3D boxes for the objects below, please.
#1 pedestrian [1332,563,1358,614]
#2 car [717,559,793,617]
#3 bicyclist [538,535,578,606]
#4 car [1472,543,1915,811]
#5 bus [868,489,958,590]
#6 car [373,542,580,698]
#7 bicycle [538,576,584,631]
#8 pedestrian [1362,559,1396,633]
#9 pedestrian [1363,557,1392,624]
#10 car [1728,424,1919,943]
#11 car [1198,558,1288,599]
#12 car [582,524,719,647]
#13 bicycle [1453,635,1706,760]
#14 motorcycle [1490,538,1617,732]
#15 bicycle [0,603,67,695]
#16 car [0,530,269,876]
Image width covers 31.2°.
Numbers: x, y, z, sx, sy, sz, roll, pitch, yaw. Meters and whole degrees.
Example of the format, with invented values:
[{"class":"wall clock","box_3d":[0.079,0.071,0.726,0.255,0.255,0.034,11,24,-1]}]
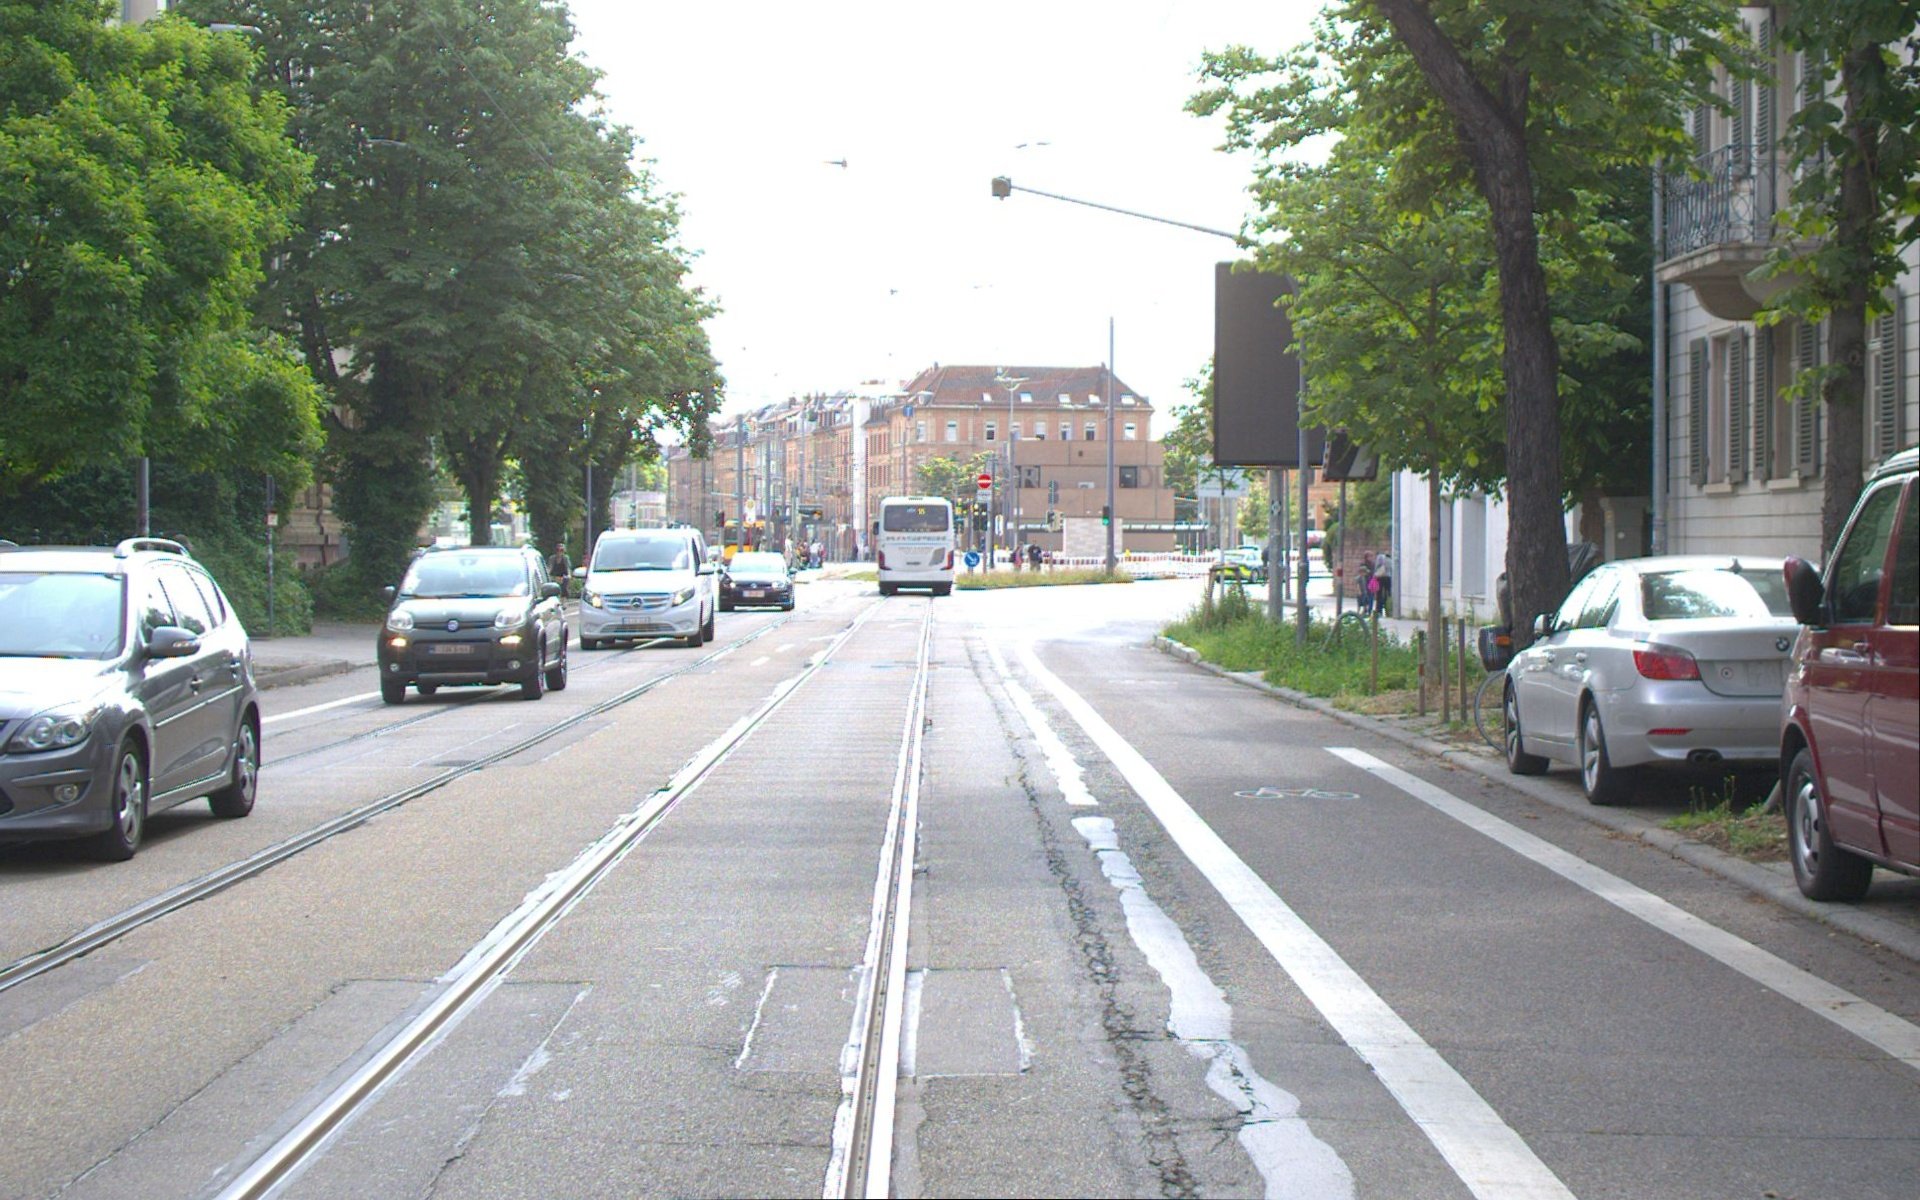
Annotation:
[{"class":"pedestrian","box_3d":[9.220,-0.276,82.351,0.421,1.196,0.406,-3,2,-33]},{"class":"car","box_3d":[-5.043,-0.309,85.065,1.688,1.397,3.931,-1,1,-1]},{"class":"bicyclist","box_3d":[-8.744,-0.649,74.848,0.599,1.487,0.882,-5,1,3]},{"class":"car","box_3d":[4.454,0.399,21.585,1.707,1.493,4.789,0,1,-1]},{"class":"bus","box_3d":[-1.678,-2.040,120.623,2.917,3.317,12.207,1,0,-1]},{"class":"car","box_3d":[-5.004,0.174,36.011,1.631,1.551,3.822,0,1,0]},{"class":"bicycle","box_3d":[-8.677,0.066,74.886,0.602,1.093,2.022,-5,1,2]},{"class":"pedestrian","box_3d":[9.934,-0.103,81.513,0.684,1.718,0.747,-1,2,2]},{"class":"pedestrian","box_3d":[10.092,-0.232,83.125,0.519,1.575,0.549,-2,2,-10]},{"class":"car","box_3d":[4.523,0.305,13.409,1.895,1.934,4.951,0,1,-1]},{"class":"car","box_3d":[12.403,-0.954,150.493,2.134,1.678,4.094,3,2,35]},{"class":"car","box_3d":[-4.982,-0.252,55.866,1.897,1.901,5.385,0,1,-2]},{"class":"bicycle","box_3d":[4.591,0.718,25.557,1.776,0.899,0.692,0,1,3]},{"class":"motorcycle","box_3d":[4.955,0.265,28.579,0.981,1.536,2.439,0,1,11]},{"class":"bicycle","box_3d":[-10.748,0.511,37.639,1.142,0.905,2.989,3,1,0]},{"class":"car","box_3d":[-4.751,0.442,17.412,1.727,1.535,4.277,-1,1,-1]}]
